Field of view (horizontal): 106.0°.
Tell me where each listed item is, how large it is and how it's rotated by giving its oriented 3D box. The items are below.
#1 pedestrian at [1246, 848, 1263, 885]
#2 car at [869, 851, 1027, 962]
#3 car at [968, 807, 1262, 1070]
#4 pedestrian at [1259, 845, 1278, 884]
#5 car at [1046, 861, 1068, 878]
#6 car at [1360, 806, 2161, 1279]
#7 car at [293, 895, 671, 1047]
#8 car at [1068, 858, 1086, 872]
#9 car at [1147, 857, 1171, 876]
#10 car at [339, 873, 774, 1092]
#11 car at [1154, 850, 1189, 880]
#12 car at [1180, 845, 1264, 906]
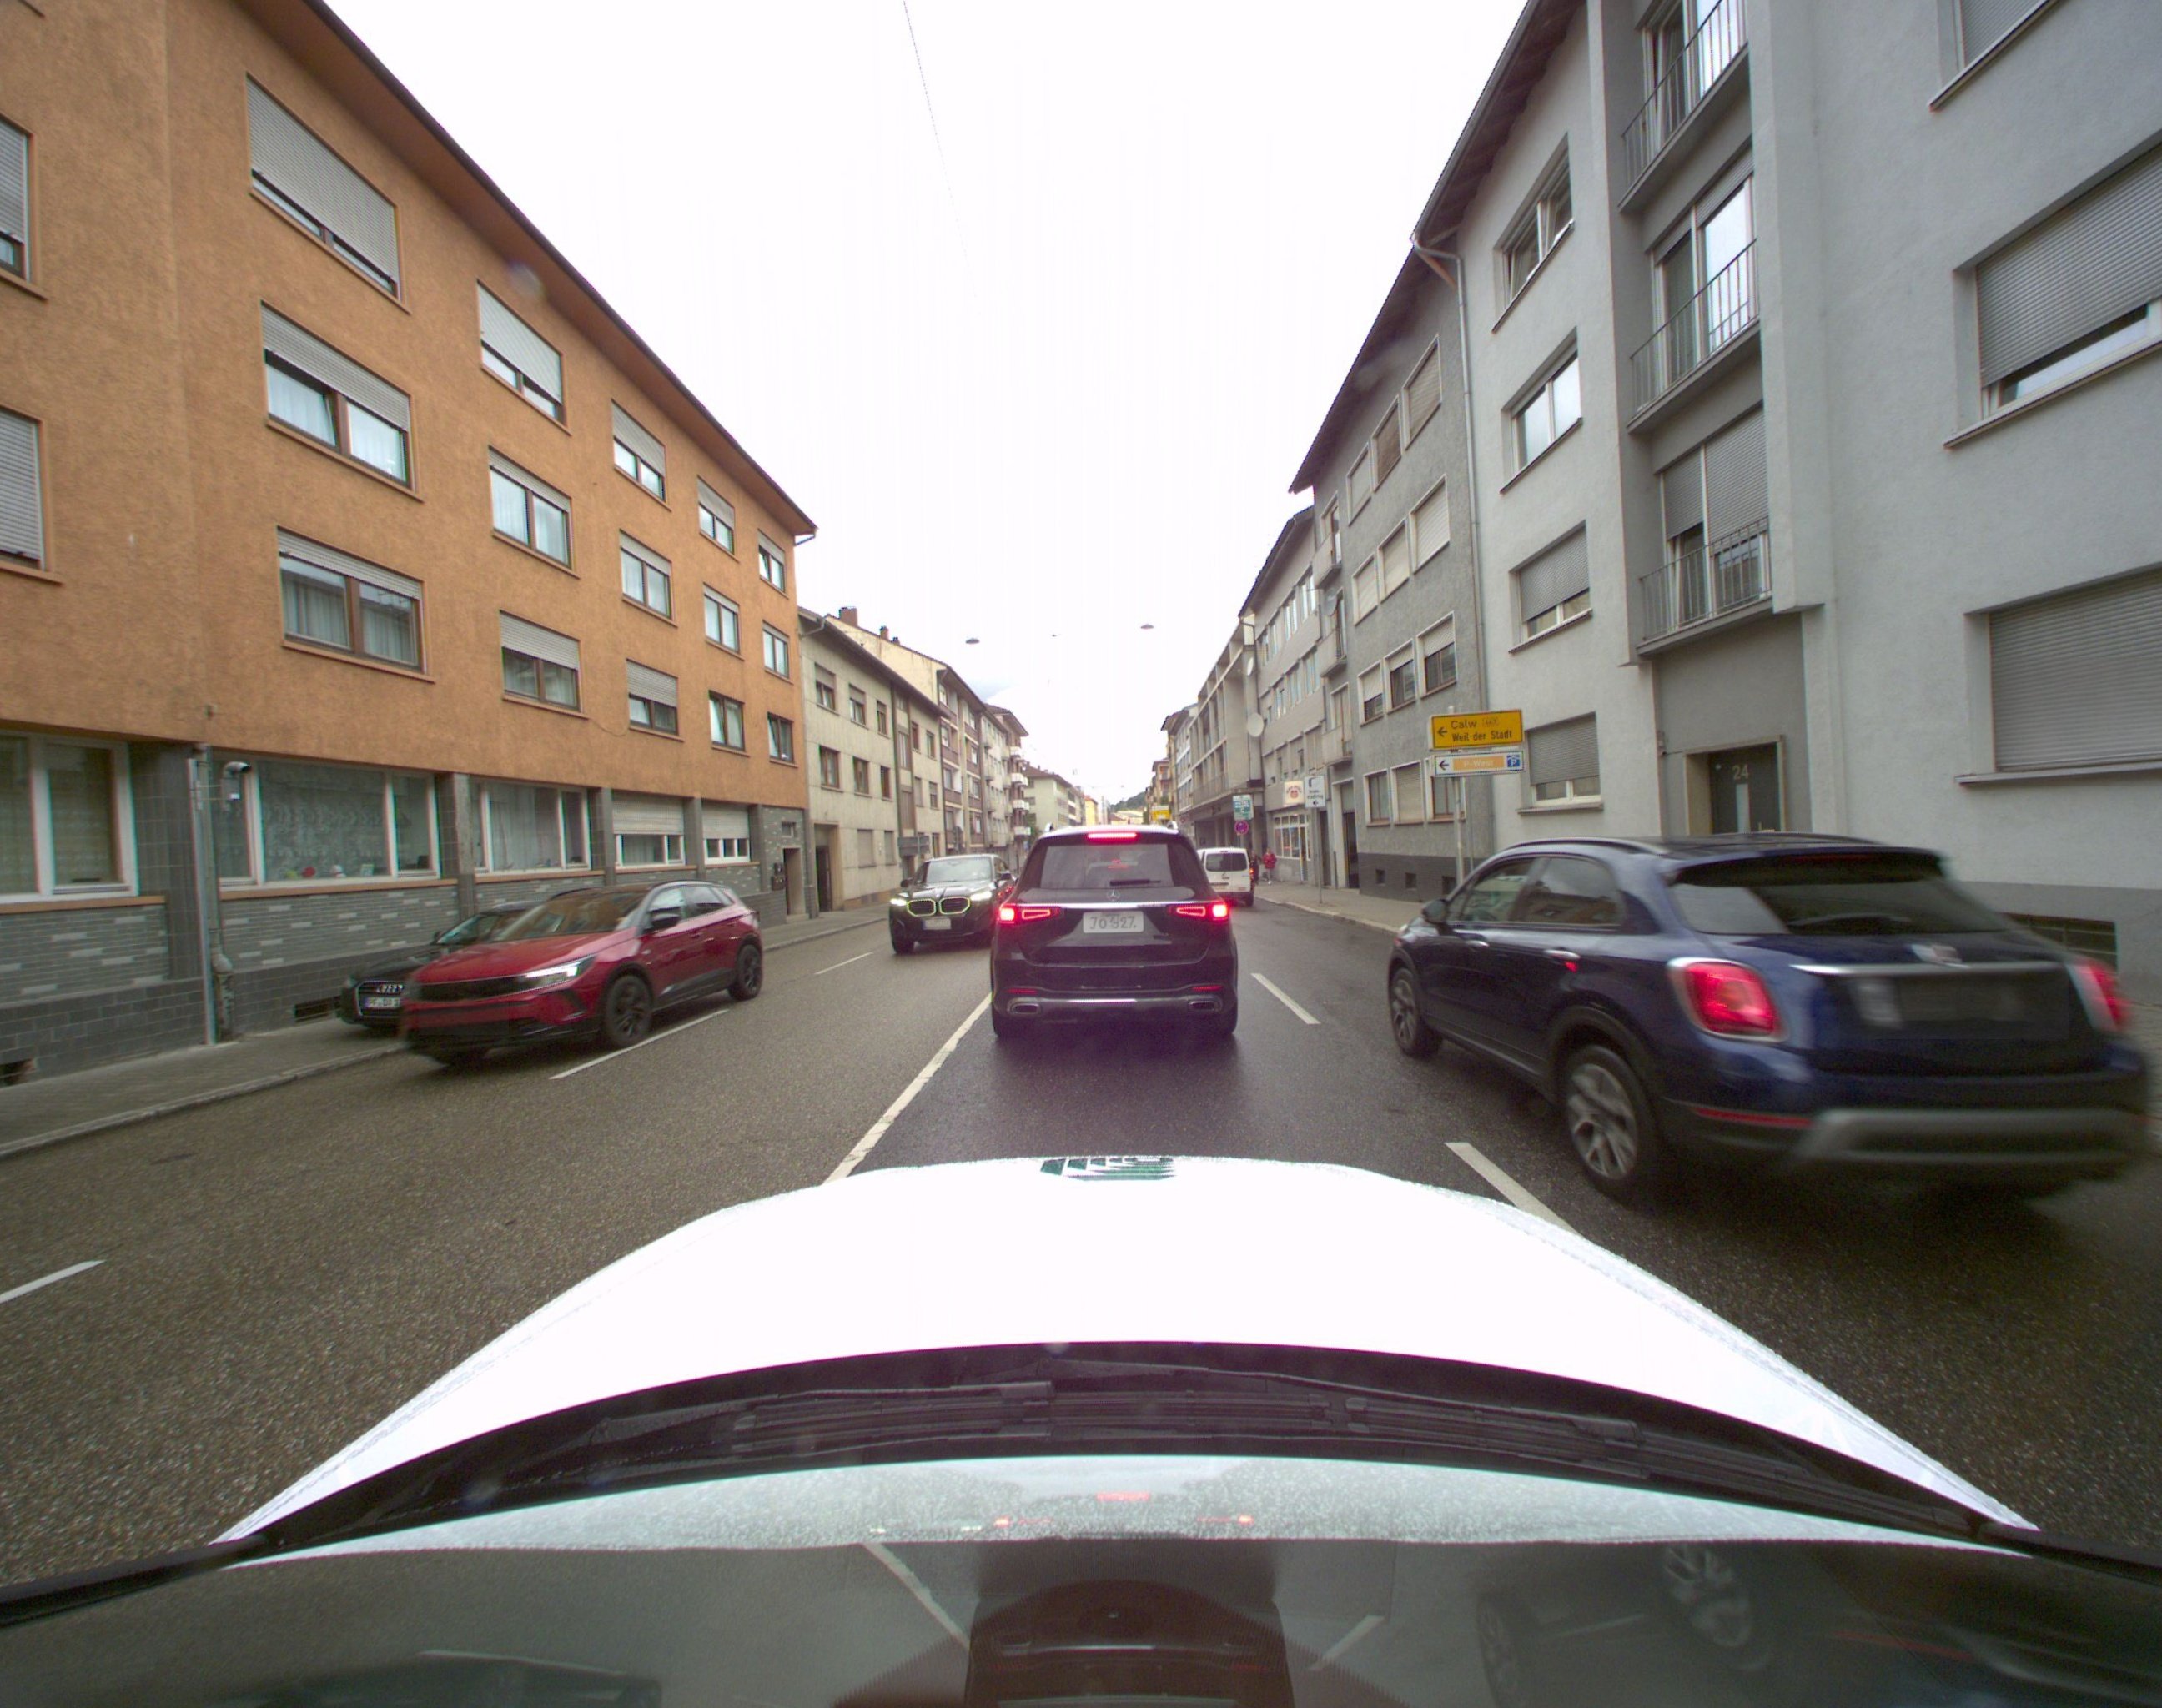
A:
[{"bbox_3d":[7.377,0.533,34.657,0.504,1.500,0.562,-5,0,1],"label":"pedestrian"},{"bbox_3d":[-2.433,0.894,16.297,2.119,1.721,4.819,-5,0,1],"label":"car"},{"bbox_3d":[0.280,0.588,7.622,2.018,1.806,4.001,0,0,1],"label":"car"},{"bbox_3d":[8.033,0.448,34.839,0.558,1.578,0.526,-5,0,2],"label":"pedestrian"},{"bbox_3d":[-2.230,1.441,76.636,1.762,1.346,3.888,-6,0,0],"label":"car"},{"bbox_3d":[3.170,0.648,4.793,1.760,1.580,4.002,-2,0,2],"label":"car"},{"bbox_3d":[-7.743,1.409,11.240,1.789,1.438,4.528,0,0,1],"label":"car"},{"bbox_3d":[-0.429,1.246,92.086,1.718,1.390,4.341,-4,0,2],"label":"car"},{"bbox_3d":[6.168,0.989,64.819,1.615,1.430,4.313,0,0,1],"label":"car"},{"bbox_3d":[-5.195,1.122,8.953,1.791,1.584,4.317,-5,0,1],"label":"car"},{"bbox_3d":[5.298,0.625,48.108,1.800,1.606,4.216,-1,0,4],"label":"car"},{"bbox_3d":[4.479,0.642,26.609,1.934,1.775,4.746,-1,0,0],"label":"car"}]
